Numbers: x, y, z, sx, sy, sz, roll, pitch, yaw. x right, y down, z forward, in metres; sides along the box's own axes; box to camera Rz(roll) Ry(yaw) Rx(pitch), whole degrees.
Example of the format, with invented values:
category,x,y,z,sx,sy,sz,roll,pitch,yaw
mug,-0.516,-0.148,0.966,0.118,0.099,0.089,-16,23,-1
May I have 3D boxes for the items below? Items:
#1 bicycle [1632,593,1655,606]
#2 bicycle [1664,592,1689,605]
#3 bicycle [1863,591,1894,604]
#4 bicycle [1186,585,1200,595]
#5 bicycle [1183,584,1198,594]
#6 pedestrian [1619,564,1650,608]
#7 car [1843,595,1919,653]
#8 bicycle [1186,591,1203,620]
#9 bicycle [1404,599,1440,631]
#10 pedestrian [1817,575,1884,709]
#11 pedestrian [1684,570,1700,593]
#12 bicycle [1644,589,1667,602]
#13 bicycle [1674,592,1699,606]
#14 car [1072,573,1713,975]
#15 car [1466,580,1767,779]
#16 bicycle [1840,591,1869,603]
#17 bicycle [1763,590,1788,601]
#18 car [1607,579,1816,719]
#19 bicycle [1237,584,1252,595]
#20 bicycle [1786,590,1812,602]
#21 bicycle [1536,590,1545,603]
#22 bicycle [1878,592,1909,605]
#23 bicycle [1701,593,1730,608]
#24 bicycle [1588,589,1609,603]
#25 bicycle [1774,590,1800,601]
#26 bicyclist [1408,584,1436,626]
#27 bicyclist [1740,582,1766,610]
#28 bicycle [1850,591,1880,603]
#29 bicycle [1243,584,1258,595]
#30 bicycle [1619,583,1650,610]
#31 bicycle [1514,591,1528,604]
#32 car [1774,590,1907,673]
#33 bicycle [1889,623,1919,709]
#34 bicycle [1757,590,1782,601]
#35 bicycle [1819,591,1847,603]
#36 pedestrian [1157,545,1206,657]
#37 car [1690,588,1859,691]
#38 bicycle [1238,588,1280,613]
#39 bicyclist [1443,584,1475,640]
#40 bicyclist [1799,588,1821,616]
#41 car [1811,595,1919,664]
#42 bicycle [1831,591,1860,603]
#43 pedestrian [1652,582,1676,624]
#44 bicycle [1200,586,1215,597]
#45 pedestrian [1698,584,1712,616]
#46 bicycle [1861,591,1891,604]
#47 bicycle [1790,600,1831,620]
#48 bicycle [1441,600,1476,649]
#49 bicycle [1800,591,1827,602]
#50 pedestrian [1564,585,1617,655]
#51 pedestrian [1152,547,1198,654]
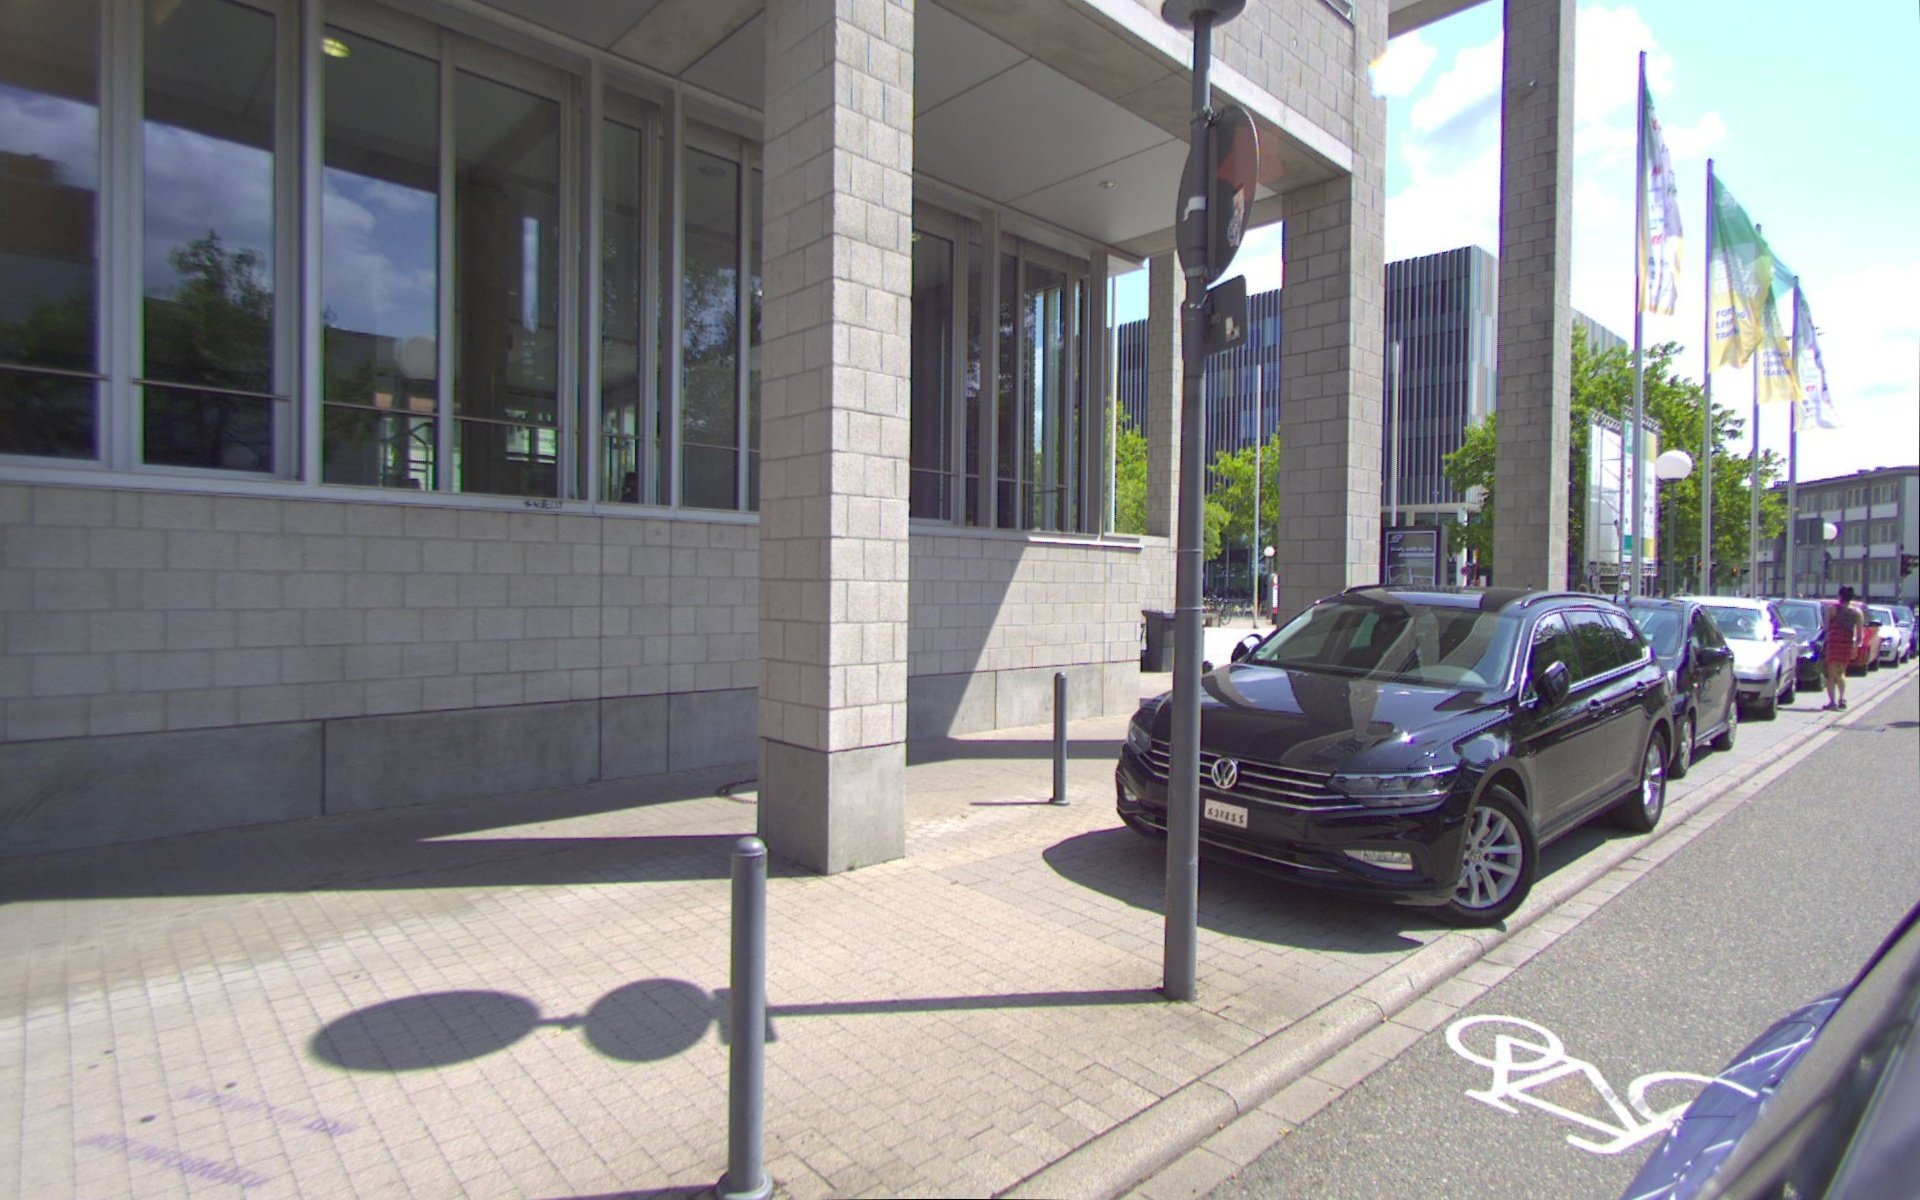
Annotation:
category,x,y,z,sx,sy,sz,roll,pitch,yaw
bicycle,51.951,-0.052,76.931,0.519,0.967,1.773,0,2,1
bicycle,54.402,-0.121,76.835,0.518,0.967,1.776,0,2,-5
bicycle,74.731,-0.224,82.383,1.751,0.967,0.526,1,3,20
bicycle,22.832,-1.008,99.128,1.515,0.967,0.374,0,1,-28
bicycle,22.699,-1.045,99.534,1.515,0.967,0.374,-1,2,-28
pedestrian,30.022,-0.616,45.021,0.854,1.842,1.157,5,0,44
car,26.462,0.613,28.613,4.865,1.417,1.721,0,3,-43
bicycle,9.880,0.211,42.652,0.595,1.112,1.759,0,3,16
bicycle,17.729,0.576,38.828,1.663,1.152,0.681,1,0,-43
pedestrian,12.108,0.533,13.748,0.623,1.738,1.024,2,1,43
pedestrian,58.184,-1.465,80.403,0.826,1.812,0.678,0,1,-25
bicycle,52.784,-0.353,76.846,0.519,0.967,1.773,0,2,1
bicycle,55.025,-0.087,76.644,0.518,0.967,1.776,0,2,-5
car,2.812,0.612,5.958,4.445,1.483,1.868,0,1,-44
car,6.402,0.586,9.678,3.941,1.515,1.615,0,1,-45
bicycle,75.821,-0.247,85.796,1.751,0.967,0.526,1,3,20
bicycle,77.877,-0.428,96.690,1.751,0.967,0.526,1,3,20
car,10.417,0.536,13.887,1.720,1.548,4.495,4,3,43
bicycle,26.724,-0.981,95.150,1.515,0.967,0.374,-2,2,-28
bicycle,76.928,-0.370,92.799,1.751,0.967,0.526,1,3,20
bicycle,45.244,-0.259,78.927,0.524,0.967,1.757,1,2,27
bicycle,74.721,-0.156,81.006,1.753,0.967,0.525,1,3,22
bicycle,51.417,0.012,68.863,0.518,0.967,1.776,0,2,-5
bicycle,49.213,-0.322,78.019,0.519,0.967,1.772,-3,2,4
bicycle,77.540,-0.412,94.891,1.751,0.967,0.526,1,3,20
bicyclist,17.704,0.187,38.789,0.864,1.589,0.681,2,0,-43
bicyclist,46.197,-0.255,58.946,0.986,1.635,0.653,1,1,19
bicycle,75.554,-0.226,84.501,1.751,0.967,0.526,1,3,20
bicycle,27.150,-0.996,94.606,1.515,0.967,0.374,-2,2,-28
bicycle,30.044,-0.146,45.054,0.815,1.086,1.861,3,0,43
bicycle,43.941,-0.221,79.277,0.367,0.967,1.770,0,2,8
car,18.743,0.611,21.494,4.076,1.515,1.617,0,3,-42
bicycle,12.780,0.891,12.612,0.891,1.092,2.143,1,1,17
bicycle,78.722,-0.440,98.415,1.751,0.967,0.526,1,3,20
bicycle,75.996,-0.290,88.116,1.751,0.967,0.526,1,3,20
pedestrian,3.959,0.003,18.093,0.774,1.949,0.730,1,1,18
car,14.165,0.582,17.528,3.932,1.548,1.721,0,2,-43
bicycle,15.315,0.013,51.882,0.784,1.197,2.033,-1,2,-32
bicyclist,12.405,0.296,25.184,0.601,1.337,0.737,2,0,21
bicyclist,48.564,0.128,57.834,0.777,1.557,0.652,1,1,23
car,22.200,0.656,24.635,4.364,1.417,1.721,0,4,-43
bicycle,76.019,-0.260,86.878,1.751,0.967,0.526,1,3,20
pedestrian,30.827,0.131,44.333,0.598,1.823,0.597,2,-1,-18
bicycle,23.937,-0.826,97.716,1.515,0.967,0.374,0,1,-28
pedestrian,43.588,-0.022,59.216,0.571,1.864,0.411,1,2,32
bicycle,75.301,-0.213,83.221,1.751,0.967,0.526,1,3,20
bicycle,48.575,0.569,57.834,1.652,1.138,0.690,1,1,23
bicycle,12.392,0.596,25.168,0.600,1.152,1.577,2,0,21
bicycle,76.278,-0.305,90.439,1.751,0.967,0.526,1,3,20
pedestrian,16.292,0.490,26.137,0.985,1.761,0.919,0,1,-43
pedestrian,4.001,0.002,18.817,0.776,1.949,0.590,1,1,19
